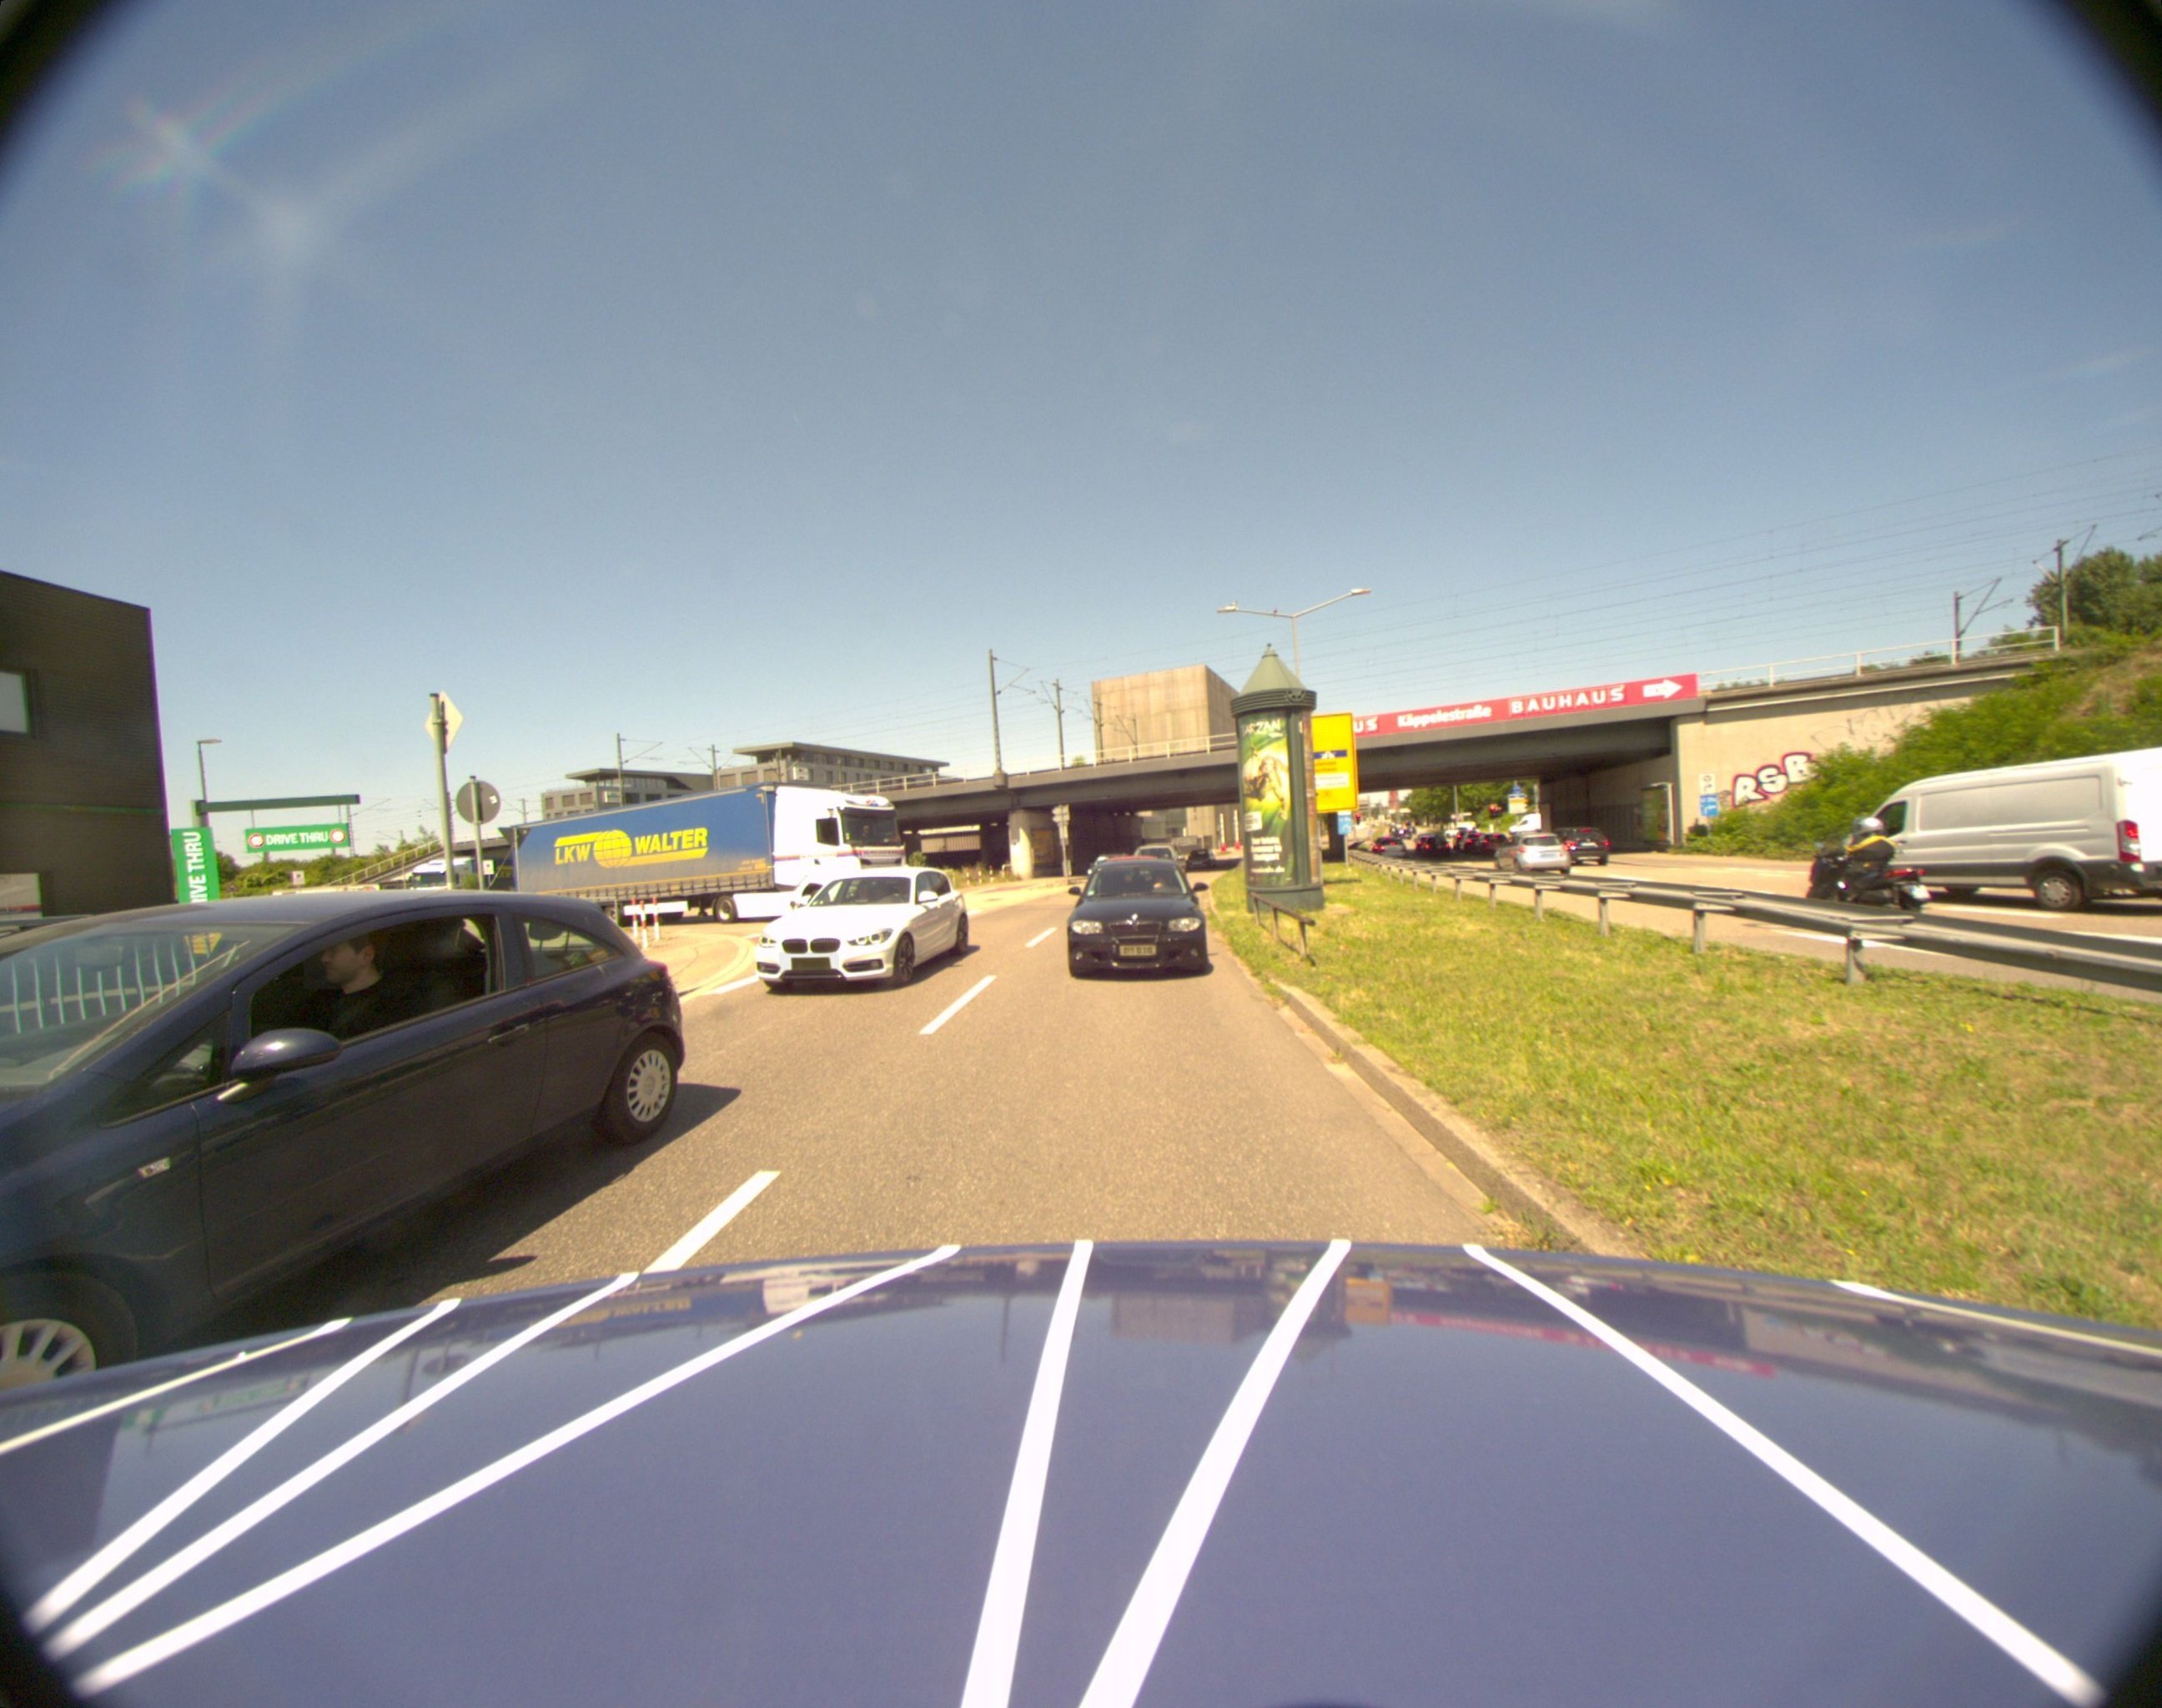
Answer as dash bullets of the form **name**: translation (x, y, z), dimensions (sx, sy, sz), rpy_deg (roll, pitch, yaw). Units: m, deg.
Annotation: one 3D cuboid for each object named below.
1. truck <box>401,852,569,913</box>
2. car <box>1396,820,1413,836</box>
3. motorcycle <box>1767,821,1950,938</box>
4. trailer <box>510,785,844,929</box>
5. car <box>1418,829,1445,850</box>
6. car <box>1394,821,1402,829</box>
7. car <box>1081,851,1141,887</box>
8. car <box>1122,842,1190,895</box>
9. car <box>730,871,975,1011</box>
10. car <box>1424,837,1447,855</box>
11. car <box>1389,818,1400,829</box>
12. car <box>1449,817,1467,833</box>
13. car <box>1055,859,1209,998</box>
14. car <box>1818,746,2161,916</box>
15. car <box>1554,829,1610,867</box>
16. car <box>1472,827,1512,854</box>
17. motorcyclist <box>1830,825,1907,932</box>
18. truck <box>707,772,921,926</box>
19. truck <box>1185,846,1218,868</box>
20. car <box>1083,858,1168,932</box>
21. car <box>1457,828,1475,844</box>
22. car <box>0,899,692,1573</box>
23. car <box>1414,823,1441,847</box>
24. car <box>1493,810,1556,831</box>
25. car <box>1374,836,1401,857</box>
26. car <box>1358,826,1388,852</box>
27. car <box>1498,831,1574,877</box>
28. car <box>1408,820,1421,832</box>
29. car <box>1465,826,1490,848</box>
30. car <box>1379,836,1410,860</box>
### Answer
- **truck**: translation (-46.979, 1.909, 61.150), dimensions (2.753, 4.079, 17.423), rpy_deg (-3, 1, -11)
- **car**: translation (42.964, -3.469, 100.950), dimensions (1.995, 2.002, 4.005), rpy_deg (-2, 1, 22)
- **motorcycle**: translation (12.328, 0.351, 12.194), dimensions (0.599, 1.668, 2.426), rpy_deg (-3, 1, 5)
- **trailer**: translation (-14.401, 0.368, 26.245), dimensions (13.872, 4.066, 2.504), rpy_deg (-3, 1, 27)
- **car**: translation (26.537, -1.145, 57.419), dimensions (1.616, 1.468, 3.438), rpy_deg (-2, 1, 28)
- **car**: translation (87.058, -7.961, 208.731), dimensions (1.995, 2.002, 4.005), rpy_deg (-2, 1, 22)
- **car**: translation (1.443, 0.643, 34.723), dimensions (1.714, 1.434, 4.004), rpy_deg (-2, 1, 17)
- **car**: translation (2.806, 0.484, 27.682), dimensions (1.844, 1.686, 3.703), rpy_deg (-2, 1, 15)
- **car**: translation (-2.853, 1.019, 10.523), dimensions (1.762, 1.435, 4.054), rpy_deg (-1, 0, 6)
- **car**: translation (24.365, -0.559, 52.154), dimensions (1.268, 1.178, 2.782), rpy_deg (-2, 1, 28)
- **car**: translation (64.632, -6.300, 156.635), dimensions (1.836, 2.002, 4.005), rpy_deg (-2, 1, 21)
- **car**: translation (48.952, -3.730, 98.769), dimensions (1.704, 2.002, 4.005), rpy_deg (-2, 1, 22)
- **car**: translation (0.805, 0.861, 10.583), dimensions (1.680, 1.409, 4.057), rpy_deg (-3, 1, 7)
- **car**: translation (17.023, -0.328, 13.879), dimensions (2.098, 2.485, 5.814), rpy_deg (-2, -1, 9)
- **car**: translation (22.034, -0.317, 33.535), dimensions (1.516, 1.533, 3.685), rpy_deg (-2, 1, 25)
- **car**: translation (27.174, -0.894, 50.322), dimensions (1.773, 1.658, 4.020), rpy_deg (-2, 0, 22)
- **motorcyclist**: translation (12.326, 0.379, 11.902), dimensions (0.588, 1.617, 0.563), rpy_deg (-3, 1, 5)
- **truck**: translation (-8.140, -0.052, 23.097), dimensions (5.749, 4.078, 2.580), rpy_deg (-4, 0, 27)
- **truck**: translation (9.174, 0.207, 57.496), dimensions (1.728, 1.493, 4.005), rpy_deg (-2, 1, 20)
- **car**: translation (1.110, 0.834, 17.154), dimensions (1.646, 1.391, 4.054), rpy_deg (-1, 0, 7)
- **car**: translation (31.503, -1.482, 62.123), dimensions (1.183, 1.241, 2.696), rpy_deg (-2, 1, 28)
- **car**: translation (-3.357, 1.026, 2.732), dimensions (1.650, 1.435, 3.892), rpy_deg (-3, 0, 4)
- **car**: translation (28.945, -1.610, 63.522), dimensions (1.904, 1.849, 4.006), rpy_deg (-2, 1, 24)
- **car**: translation (52.706, -4.008, 90.507), dimensions (6.367, 2.091, 2.003), rpy_deg (-2, 1, 29)
- **car**: translation (21.289, -0.531, 52.650), dimensions (1.409, 1.311, 3.266), rpy_deg (-2, 1, 27)
- **car**: translation (22.802, -1.168, 59.285), dimensions (1.904, 1.849, 4.006), rpy_deg (-2, 1, 24)
- **car**: translation (16.949, -0.005, 28.466), dimensions (1.636, 1.558, 4.078), rpy_deg (-2, 0, 20)
- **car**: translation (58.738, -4.859, 133.999), dimensions (1.836, 2.002, 4.005), rpy_deg (-2, 1, 21)
- **car**: translation (29.205, -1.250, 55.931), dimensions (1.571, 1.494, 3.412), rpy_deg (-2, 1, 28)
- **car**: translation (19.393, -0.377, 47.116), dimensions (1.636, 1.395, 4.227), rpy_deg (-1, 1, 20)
